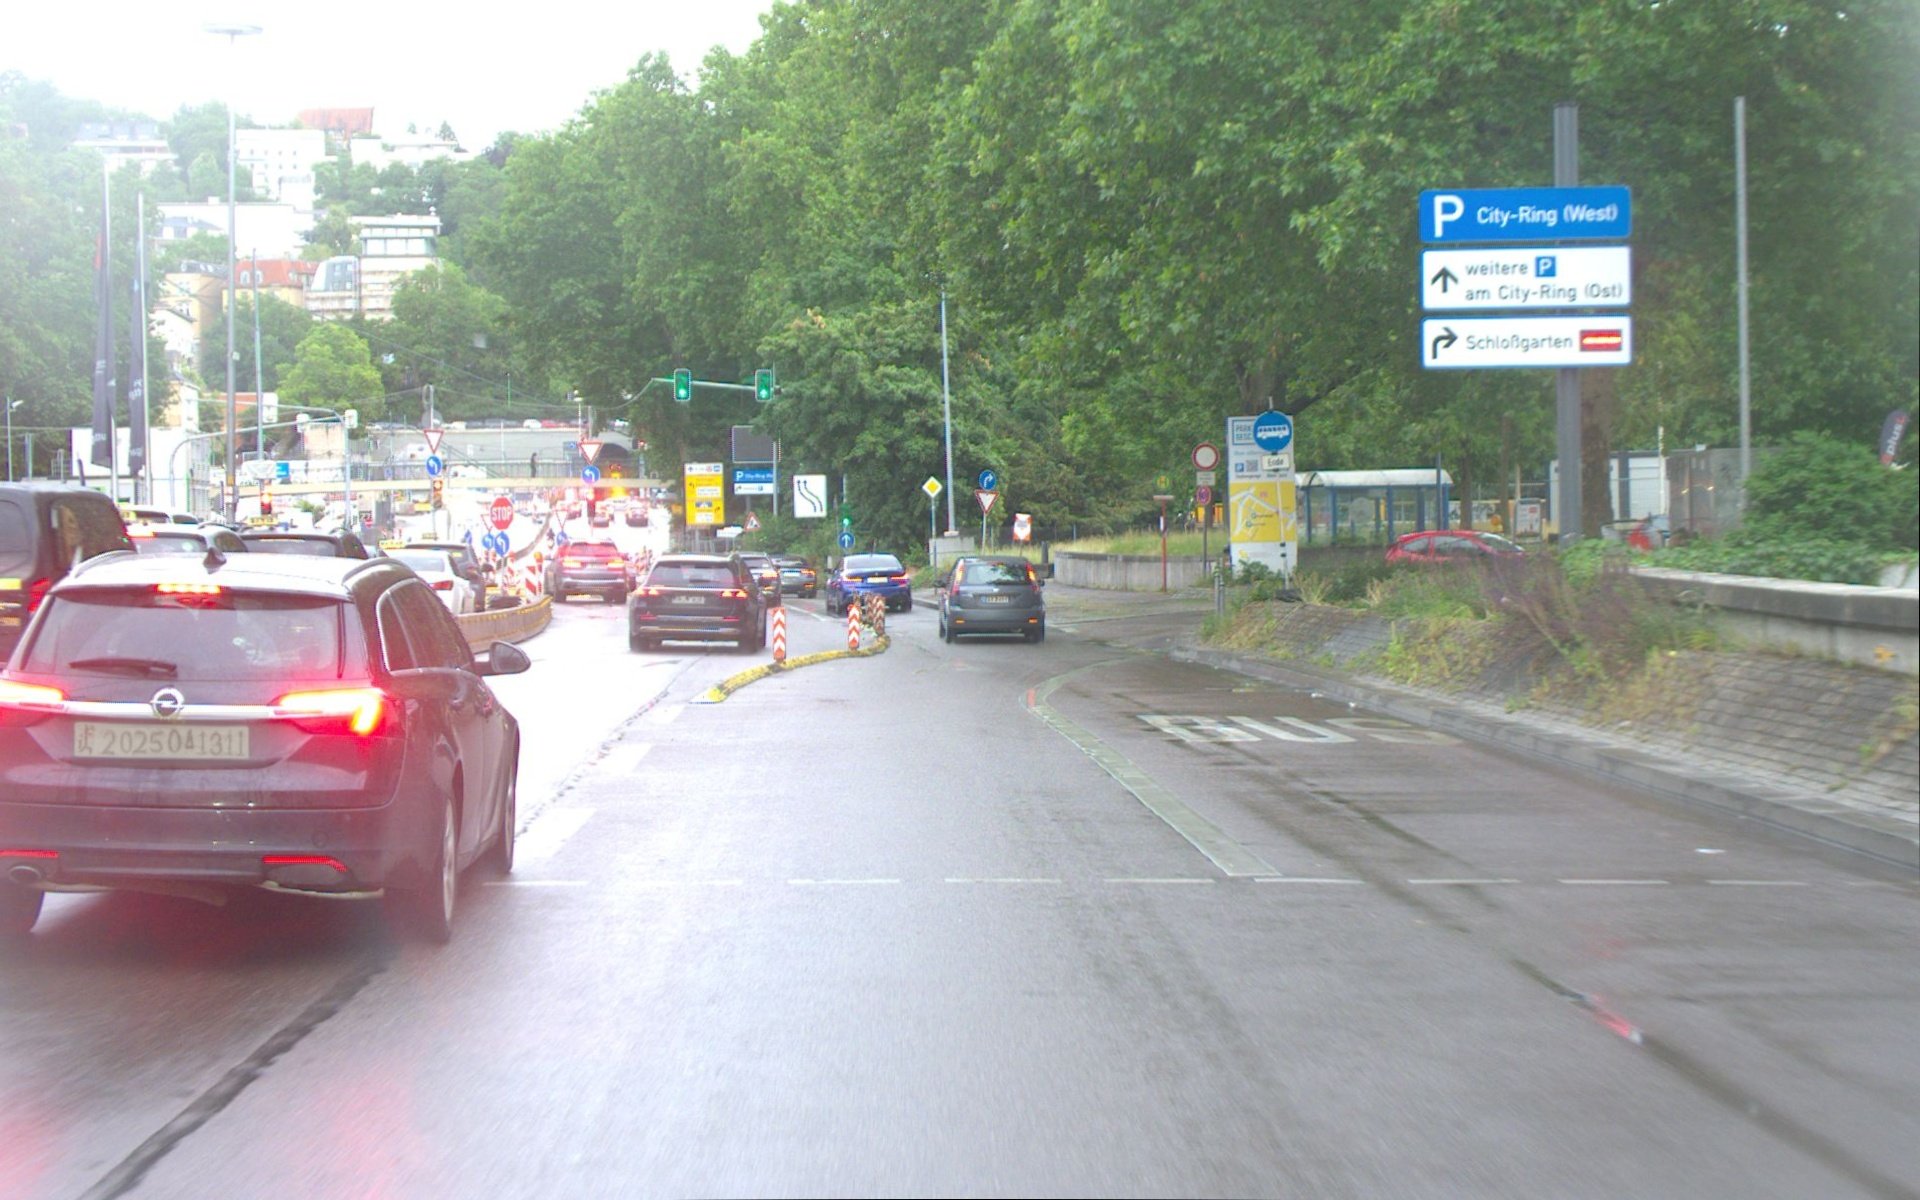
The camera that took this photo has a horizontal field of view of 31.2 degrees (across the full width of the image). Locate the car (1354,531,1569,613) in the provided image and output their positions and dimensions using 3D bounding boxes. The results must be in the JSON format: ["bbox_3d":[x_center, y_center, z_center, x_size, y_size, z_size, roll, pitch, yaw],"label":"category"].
[{"bbox_3d":[9.463,-0.537,64.981,3.615,1.500,1.730,1,0,39],"label":"car"}]

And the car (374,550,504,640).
[{"bbox_3d":[-9.408,-0.110,62.347,1.993,1.525,4.153,-2,1,-5],"label":"car"}]

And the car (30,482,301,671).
[{"bbox_3d":[-7.692,-0.230,33.696,1.823,1.690,4.775,1,0,-4],"label":"car"}]

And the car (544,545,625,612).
[{"bbox_3d":[-10.601,-0.598,96.884,1.993,1.820,4.001,1,0,-10],"label":"car"}]

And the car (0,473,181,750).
[{"bbox_3d":[-7.182,0.049,25.421,1.993,1.839,5.063,1,0,-4],"label":"car"}]

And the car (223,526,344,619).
[{"bbox_3d":[-12.315,-0.511,62.754,1.714,1.624,4.056,1,1,-5],"label":"car"}]

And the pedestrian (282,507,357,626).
[{"bbox_3d":[-10.898,-0.571,58.520,1.025,2.007,0.836,0,1,10],"label":"pedestrian"}]

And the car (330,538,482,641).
[{"bbox_3d":[-9.081,-0.188,56.721,1.993,1.562,4.876,-2,1,-4],"label":"car"}]

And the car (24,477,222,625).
[{"bbox_3d":[-12.113,-0.693,50.076,1.993,2.007,5.370,1,0,-5],"label":"car"}]

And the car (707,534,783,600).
[{"bbox_3d":[-5.796,-0.893,93.142,1.904,1.711,4.000,1,0,-2],"label":"car"}]

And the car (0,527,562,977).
[{"bbox_3d":[-2.828,0.476,13.911,1.877,1.503,4.852,0,1,0],"label":"car"}]

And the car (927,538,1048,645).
[{"bbox_3d":[0.427,-0.147,57.744,1.851,1.711,4.000,1,0,-2],"label":"car"}]

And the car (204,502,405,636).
[{"bbox_3d":[-7.816,-0.370,41.355,1.823,1.506,4.491,1,0,-4],"label":"car"}]

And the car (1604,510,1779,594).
[{"bbox_3d":[18.242,-1.187,85.627,2.132,2.007,4.637,1,0,44],"label":"car"}]

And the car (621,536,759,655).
[{"bbox_3d":[-3.982,-0.089,51.199,1.830,1.680,4.134,0,1,-2],"label":"car"}]

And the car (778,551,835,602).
[{"bbox_3d":[-4.964,-0.755,110.929,1.634,1.619,3.796,1,0,-5],"label":"car"}]

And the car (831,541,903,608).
[{"bbox_3d":[-2.250,-0.611,83.688,1.674,1.576,3.240,1,0,0],"label":"car"}]
